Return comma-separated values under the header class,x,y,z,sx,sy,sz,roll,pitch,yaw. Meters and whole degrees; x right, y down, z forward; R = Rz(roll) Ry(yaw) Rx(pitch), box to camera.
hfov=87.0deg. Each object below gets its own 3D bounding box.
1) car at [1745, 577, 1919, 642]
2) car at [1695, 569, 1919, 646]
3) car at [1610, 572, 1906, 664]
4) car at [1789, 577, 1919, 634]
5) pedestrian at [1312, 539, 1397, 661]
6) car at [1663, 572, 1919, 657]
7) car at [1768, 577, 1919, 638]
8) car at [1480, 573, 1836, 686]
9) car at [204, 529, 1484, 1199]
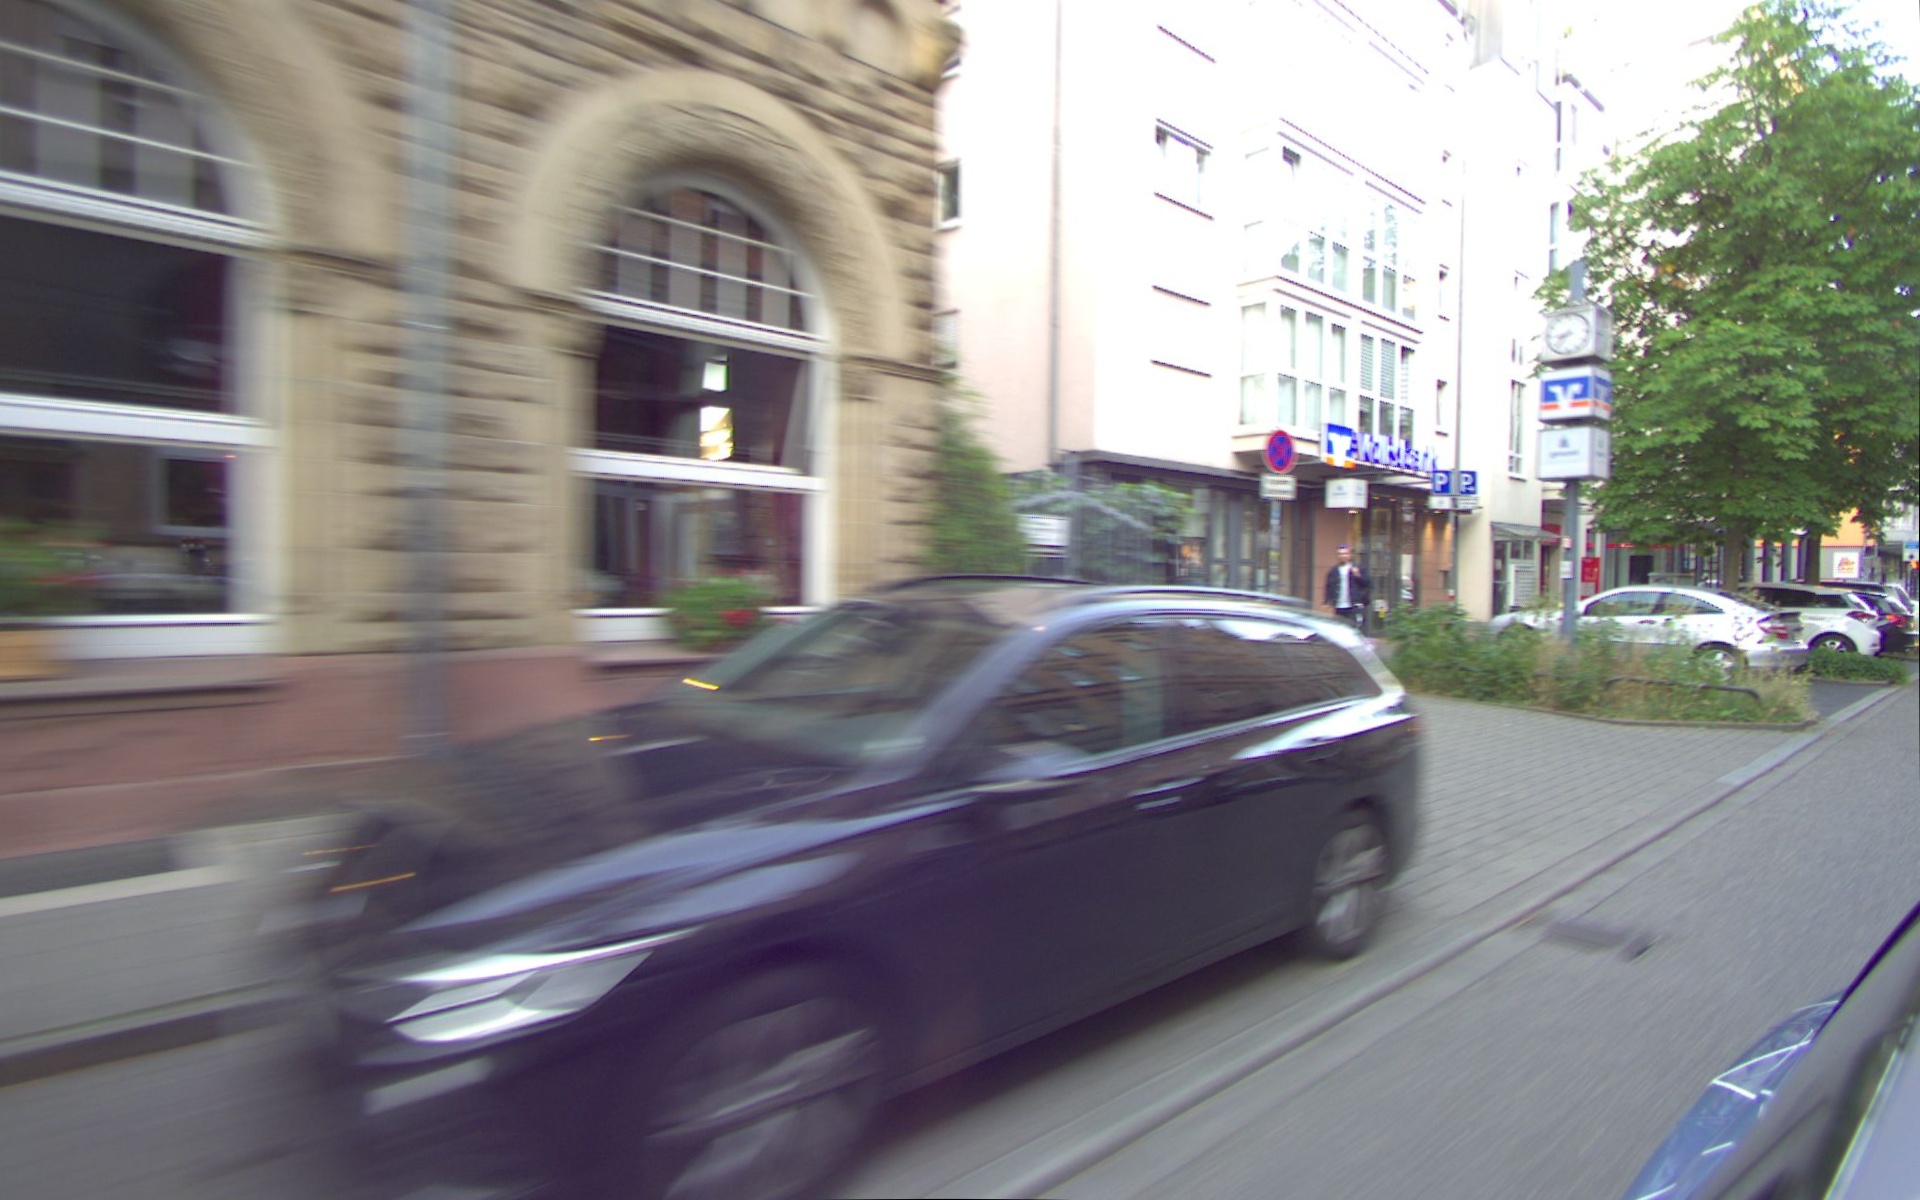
class,x,y,z,sx,sy,sz,roll,pitch,yaw
car,23.433,0.205,26.486,1.792,1.555,4.298,0,2,-41
car,21.028,0.118,25.037,1.792,1.697,4.298,0,2,-41
car,15.479,0.266,19.833,1.792,1.547,4.298,0,2,-41
car,27.069,0.136,29.465,1.792,1.547,4.298,0,2,-41
pedestrian,6.022,-0.017,15.466,0.818,1.788,0.852,0,3,-37
car,17.475,0.233,21.121,1.792,1.547,4.298,0,2,-41
car,25.197,0.181,27.916,1.792,1.547,4.298,0,2,-41
car,10.806,0.353,15.923,1.792,1.469,4.298,0,2,-41
car,0.057,0.581,3.742,4.477,1.502,1.767,0,3,-41
